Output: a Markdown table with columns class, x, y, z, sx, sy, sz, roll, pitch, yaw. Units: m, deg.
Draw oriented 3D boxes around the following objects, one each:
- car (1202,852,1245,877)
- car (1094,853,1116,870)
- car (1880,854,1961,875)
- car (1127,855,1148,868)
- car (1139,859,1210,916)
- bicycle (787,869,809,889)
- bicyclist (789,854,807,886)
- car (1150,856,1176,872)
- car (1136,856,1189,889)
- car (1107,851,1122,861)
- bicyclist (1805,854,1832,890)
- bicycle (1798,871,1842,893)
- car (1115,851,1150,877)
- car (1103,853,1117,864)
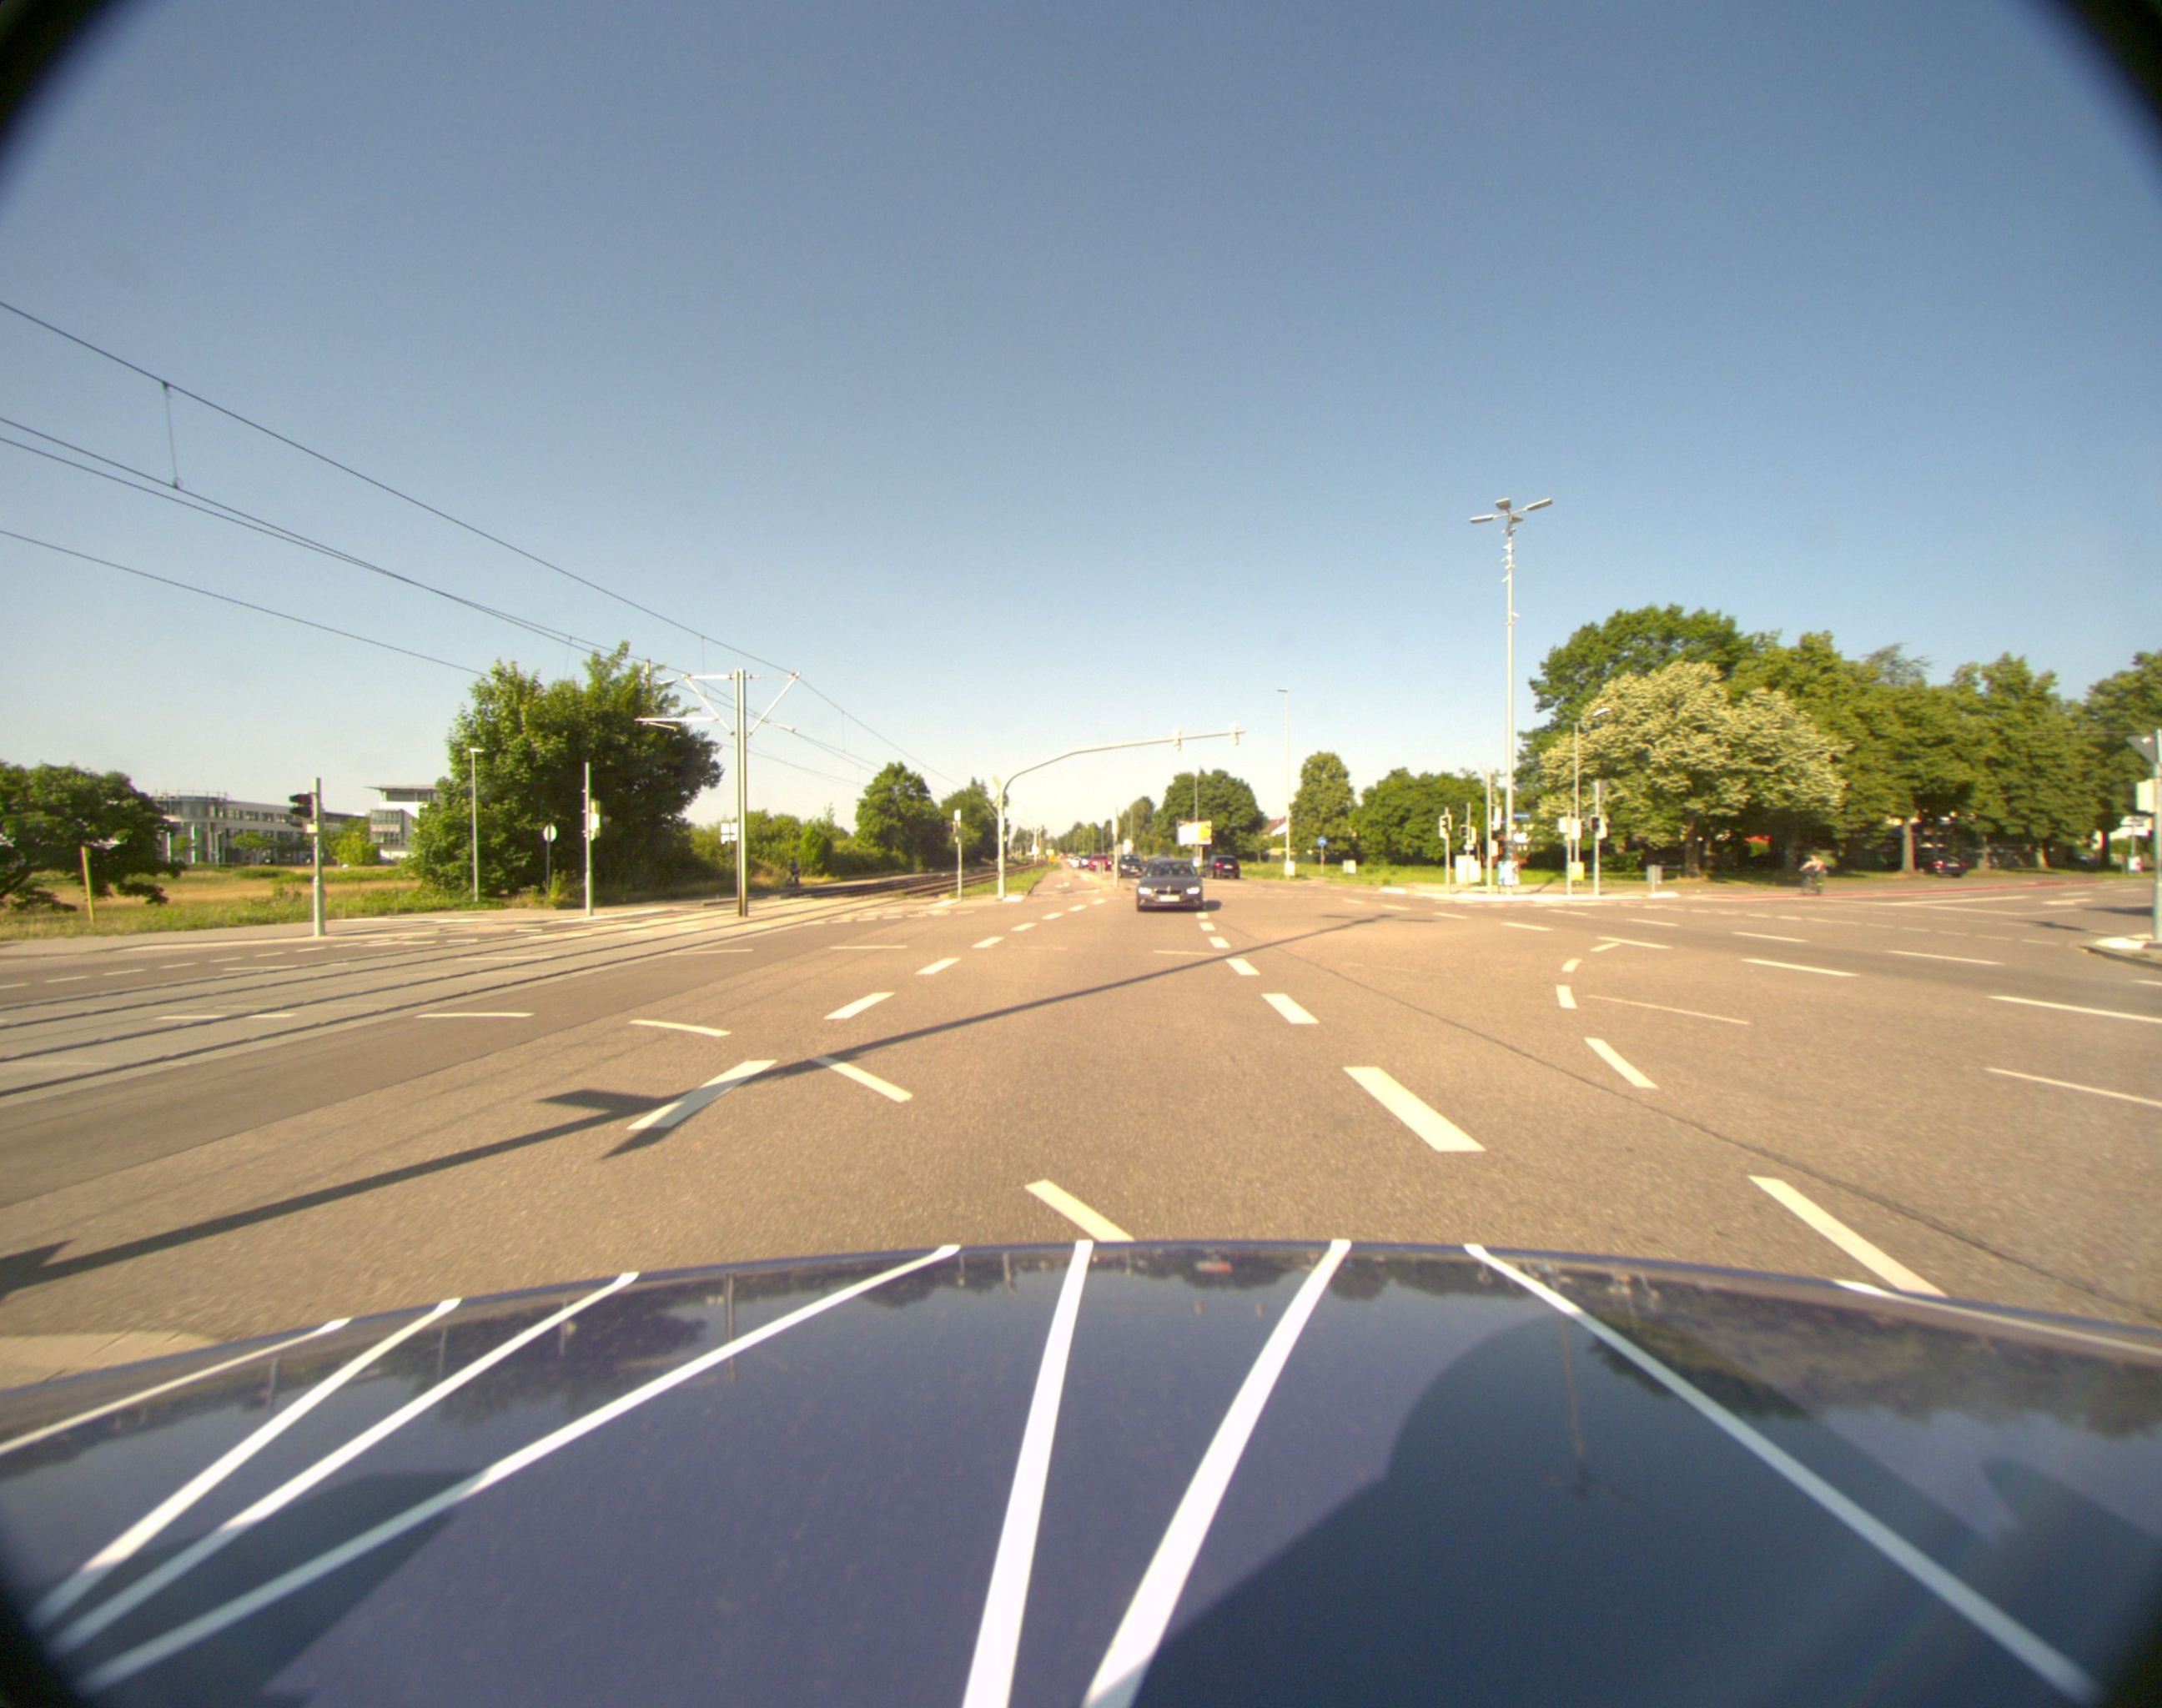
| class | x | y | z | sx | sy | sz | roll | pitch | yaw |
| --- | --- | --- | --- | --- | --- | --- | --- | --- | --- |
| car | 9.726 | 0.666 | 52.112 | 1.994 | 1.649 | 4.384 | 0 | 0 | -2 |
| car | 2.314 | 0.701 | 73.417 | 1.807 | 1.498 | 4.196 | -1 | 0 | -3 |
| car | 55.437 | 0.682 | 50.304 | 1.522 | 1.313 | 4.777 | 0 | 0 | 19 |
| car | 6.719 | 0.853 | 90.227 | 1.894 | 1.465 | 4.098 | 0 | 0 | -4 |
| car | 2.641 | 0.892 | 21.940 | 1.820 | 1.416 | 4.463 | -1 | 0 | 6 |
| bicycle | -15.961 | 1.406 | 42.882 | 0.547 | 1.041 | 1.873 | -1 | 0 | -1 |
| bicyclist | -15.966 | 0.907 | 42.838 | 0.708 | 1.797 | 0.717 | -1 | 1 | -2 |
| car | 7.955 | 0.922 | 73.858 | 1.794 | 1.511 | 3.998 | 0 | 0 | -4 |
| car | 3.851 | 0.833 | 36.509 | 1.821 | 1.481 | 4.609 | 0 | 0 | -3 |
| car | 5.062 | 0.255 | 113.821 | 1.808 | 1.401 | 3.871 | -1 | 1 | -4 |
| bicyclist | 31.460 | 0.783 | 32.401 | 0.628 | 1.514 | 0.617 | -1 | 0 | -27 |
| bicycle | 31.535 | 1.180 | 32.406 | 1.811 | 0.898 | 0.653 | -1 | 0 | -21 |
| car | 3.479 | 0.666 | 52.399 | 1.821 | 1.641 | 4.609 | -2 | 0 | -3 |
| car | 4.352 | 0.666 | 113.667 | 1.750 | 1.552 | 3.999 | 1 | 0 | -3 |
